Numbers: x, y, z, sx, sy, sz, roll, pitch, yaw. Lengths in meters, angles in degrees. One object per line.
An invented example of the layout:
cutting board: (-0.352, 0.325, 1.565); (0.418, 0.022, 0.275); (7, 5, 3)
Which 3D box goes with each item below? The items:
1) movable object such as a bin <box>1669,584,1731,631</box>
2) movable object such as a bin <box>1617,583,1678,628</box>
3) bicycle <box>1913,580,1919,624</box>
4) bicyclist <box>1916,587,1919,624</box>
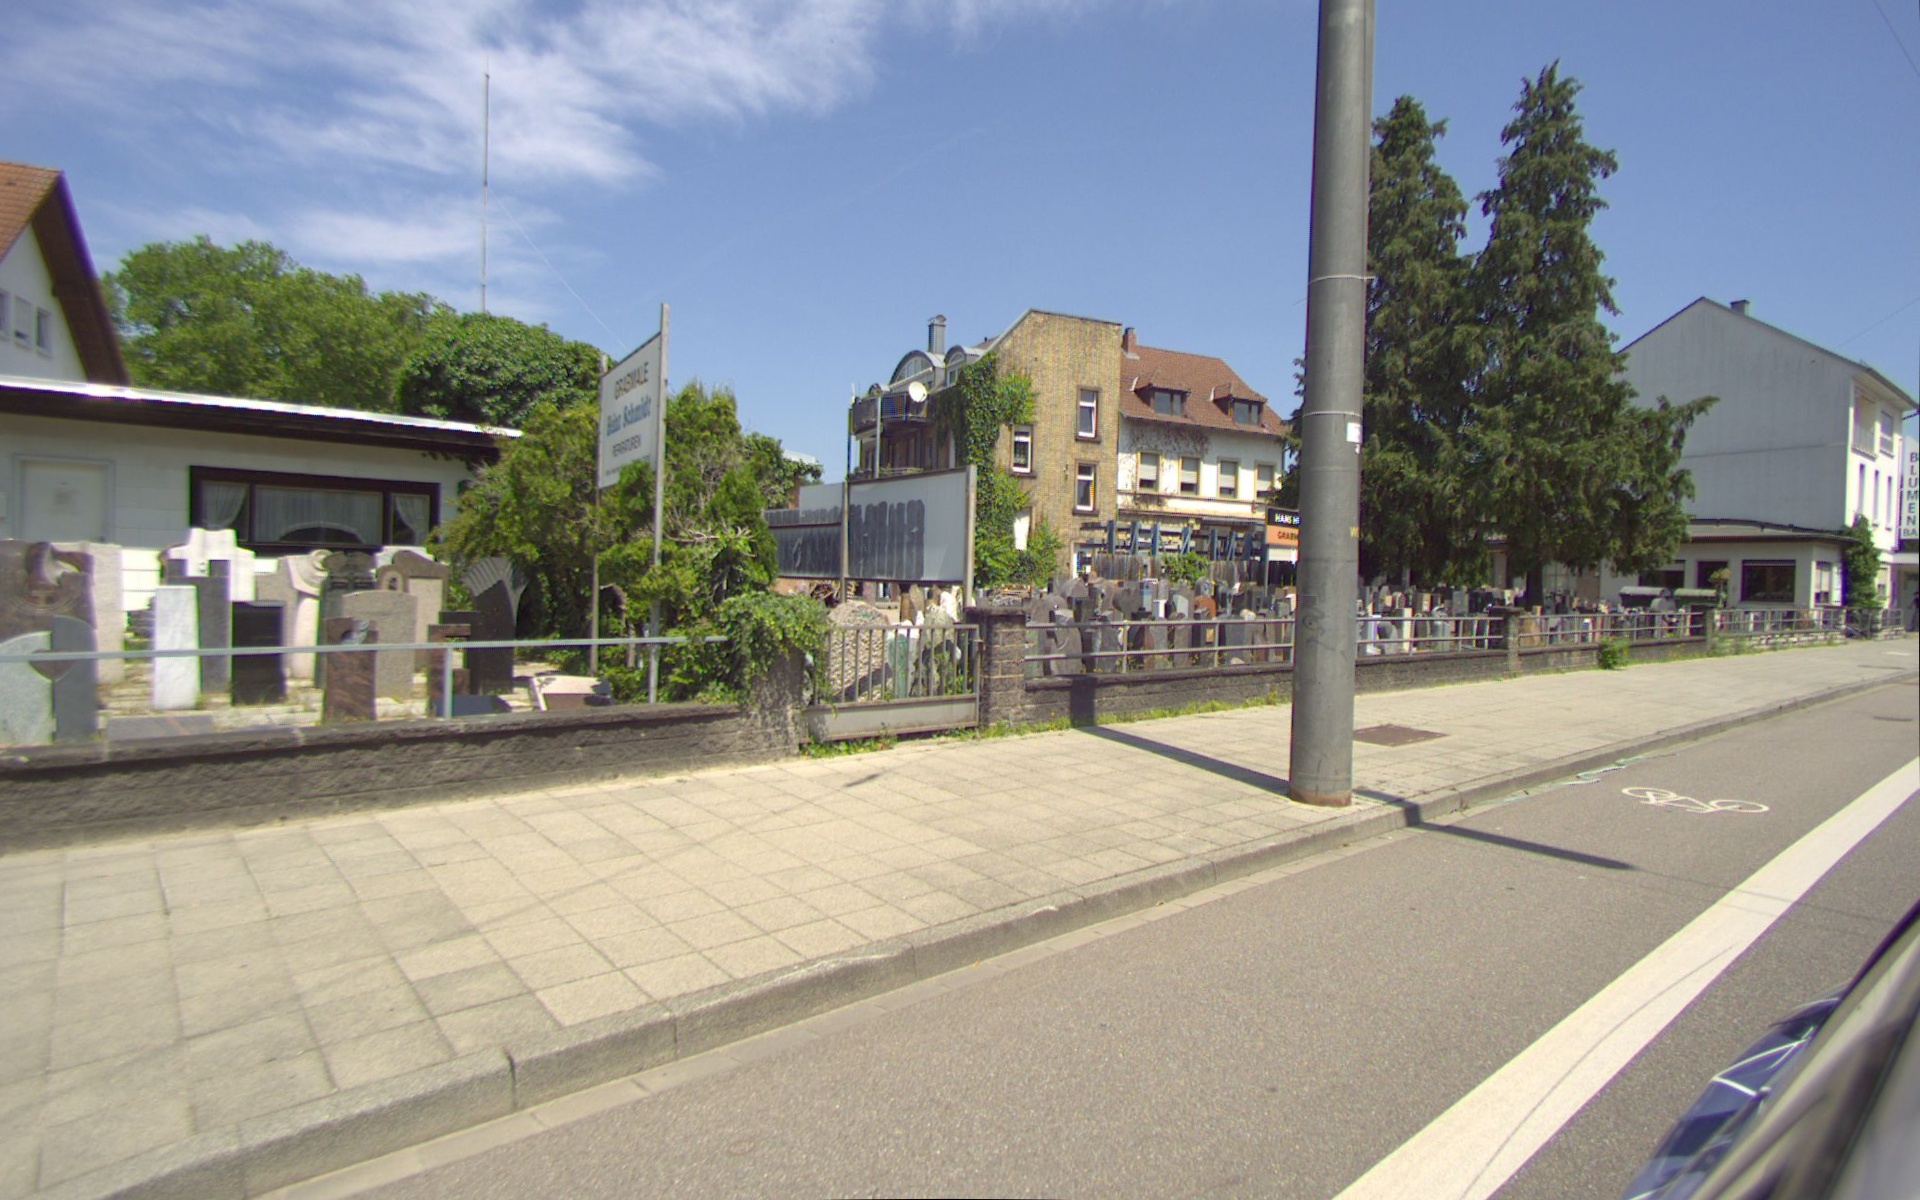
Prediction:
movable object such as a bin: (24.594, 0.225, 33.635); (1.130, 1.500, 1.391); (0, 1, -38)
movable object such as a bin: (23.772, 0.170, 35.006); (1.129, 1.500, 1.392); (1, 1, -34)
bicycle: (43.606, 0.120, 45.284); (1.919, 1.923, 0.802); (1, 3, -31)
bicyclist: (43.548, 0.176, 45.265); (0.870, 1.897, 0.793); (1, 3, -31)
